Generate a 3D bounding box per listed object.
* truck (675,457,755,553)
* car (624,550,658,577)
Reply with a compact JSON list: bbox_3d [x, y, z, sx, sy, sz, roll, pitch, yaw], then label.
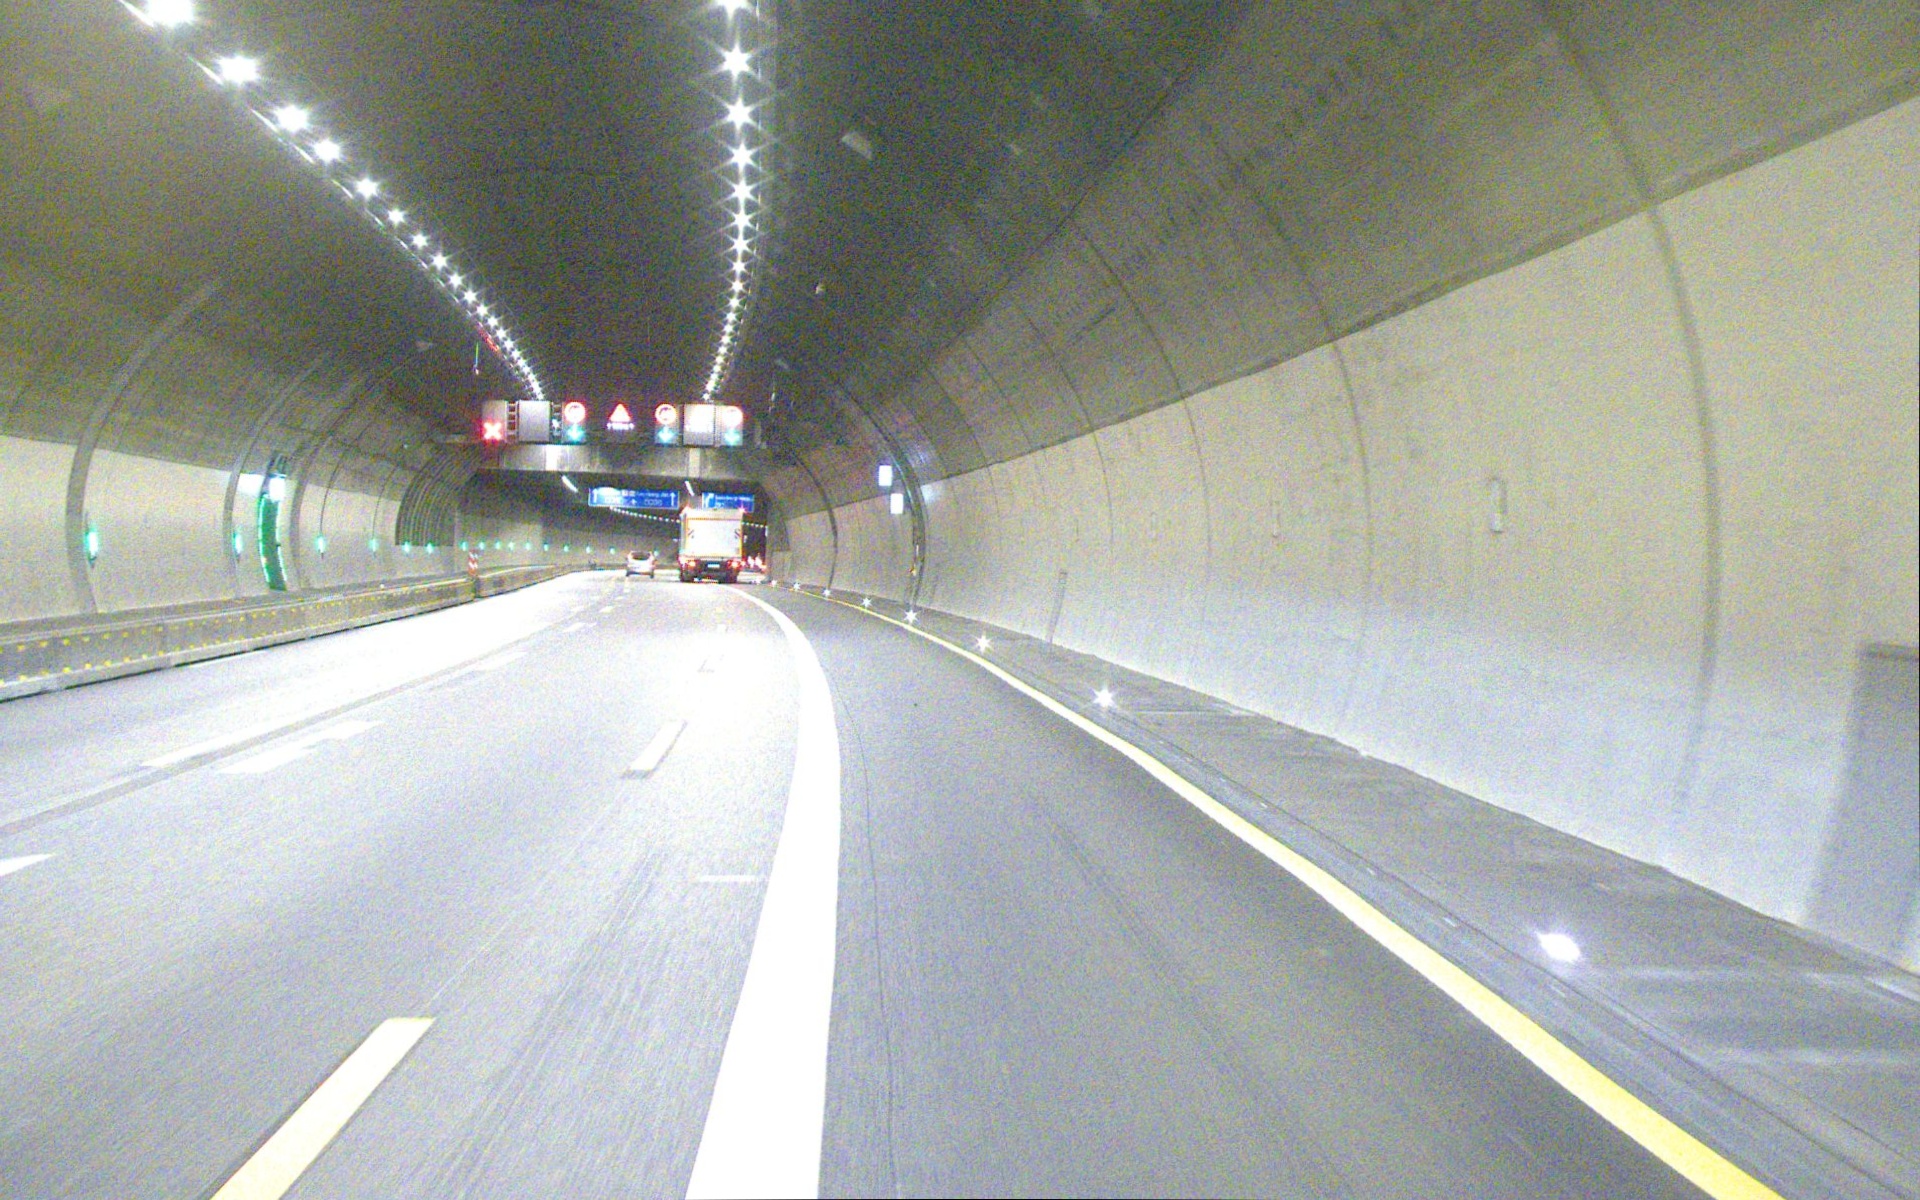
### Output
[{"bbox_3d":[-11.468,-4.393,160.180,3.473,4.301,10.954,0,1,-5],"label":"truck"},{"bbox_3d":[-19.178,-2.203,206.370,1.993,1.576,4.001,0,1,-6],"label":"car"}]
